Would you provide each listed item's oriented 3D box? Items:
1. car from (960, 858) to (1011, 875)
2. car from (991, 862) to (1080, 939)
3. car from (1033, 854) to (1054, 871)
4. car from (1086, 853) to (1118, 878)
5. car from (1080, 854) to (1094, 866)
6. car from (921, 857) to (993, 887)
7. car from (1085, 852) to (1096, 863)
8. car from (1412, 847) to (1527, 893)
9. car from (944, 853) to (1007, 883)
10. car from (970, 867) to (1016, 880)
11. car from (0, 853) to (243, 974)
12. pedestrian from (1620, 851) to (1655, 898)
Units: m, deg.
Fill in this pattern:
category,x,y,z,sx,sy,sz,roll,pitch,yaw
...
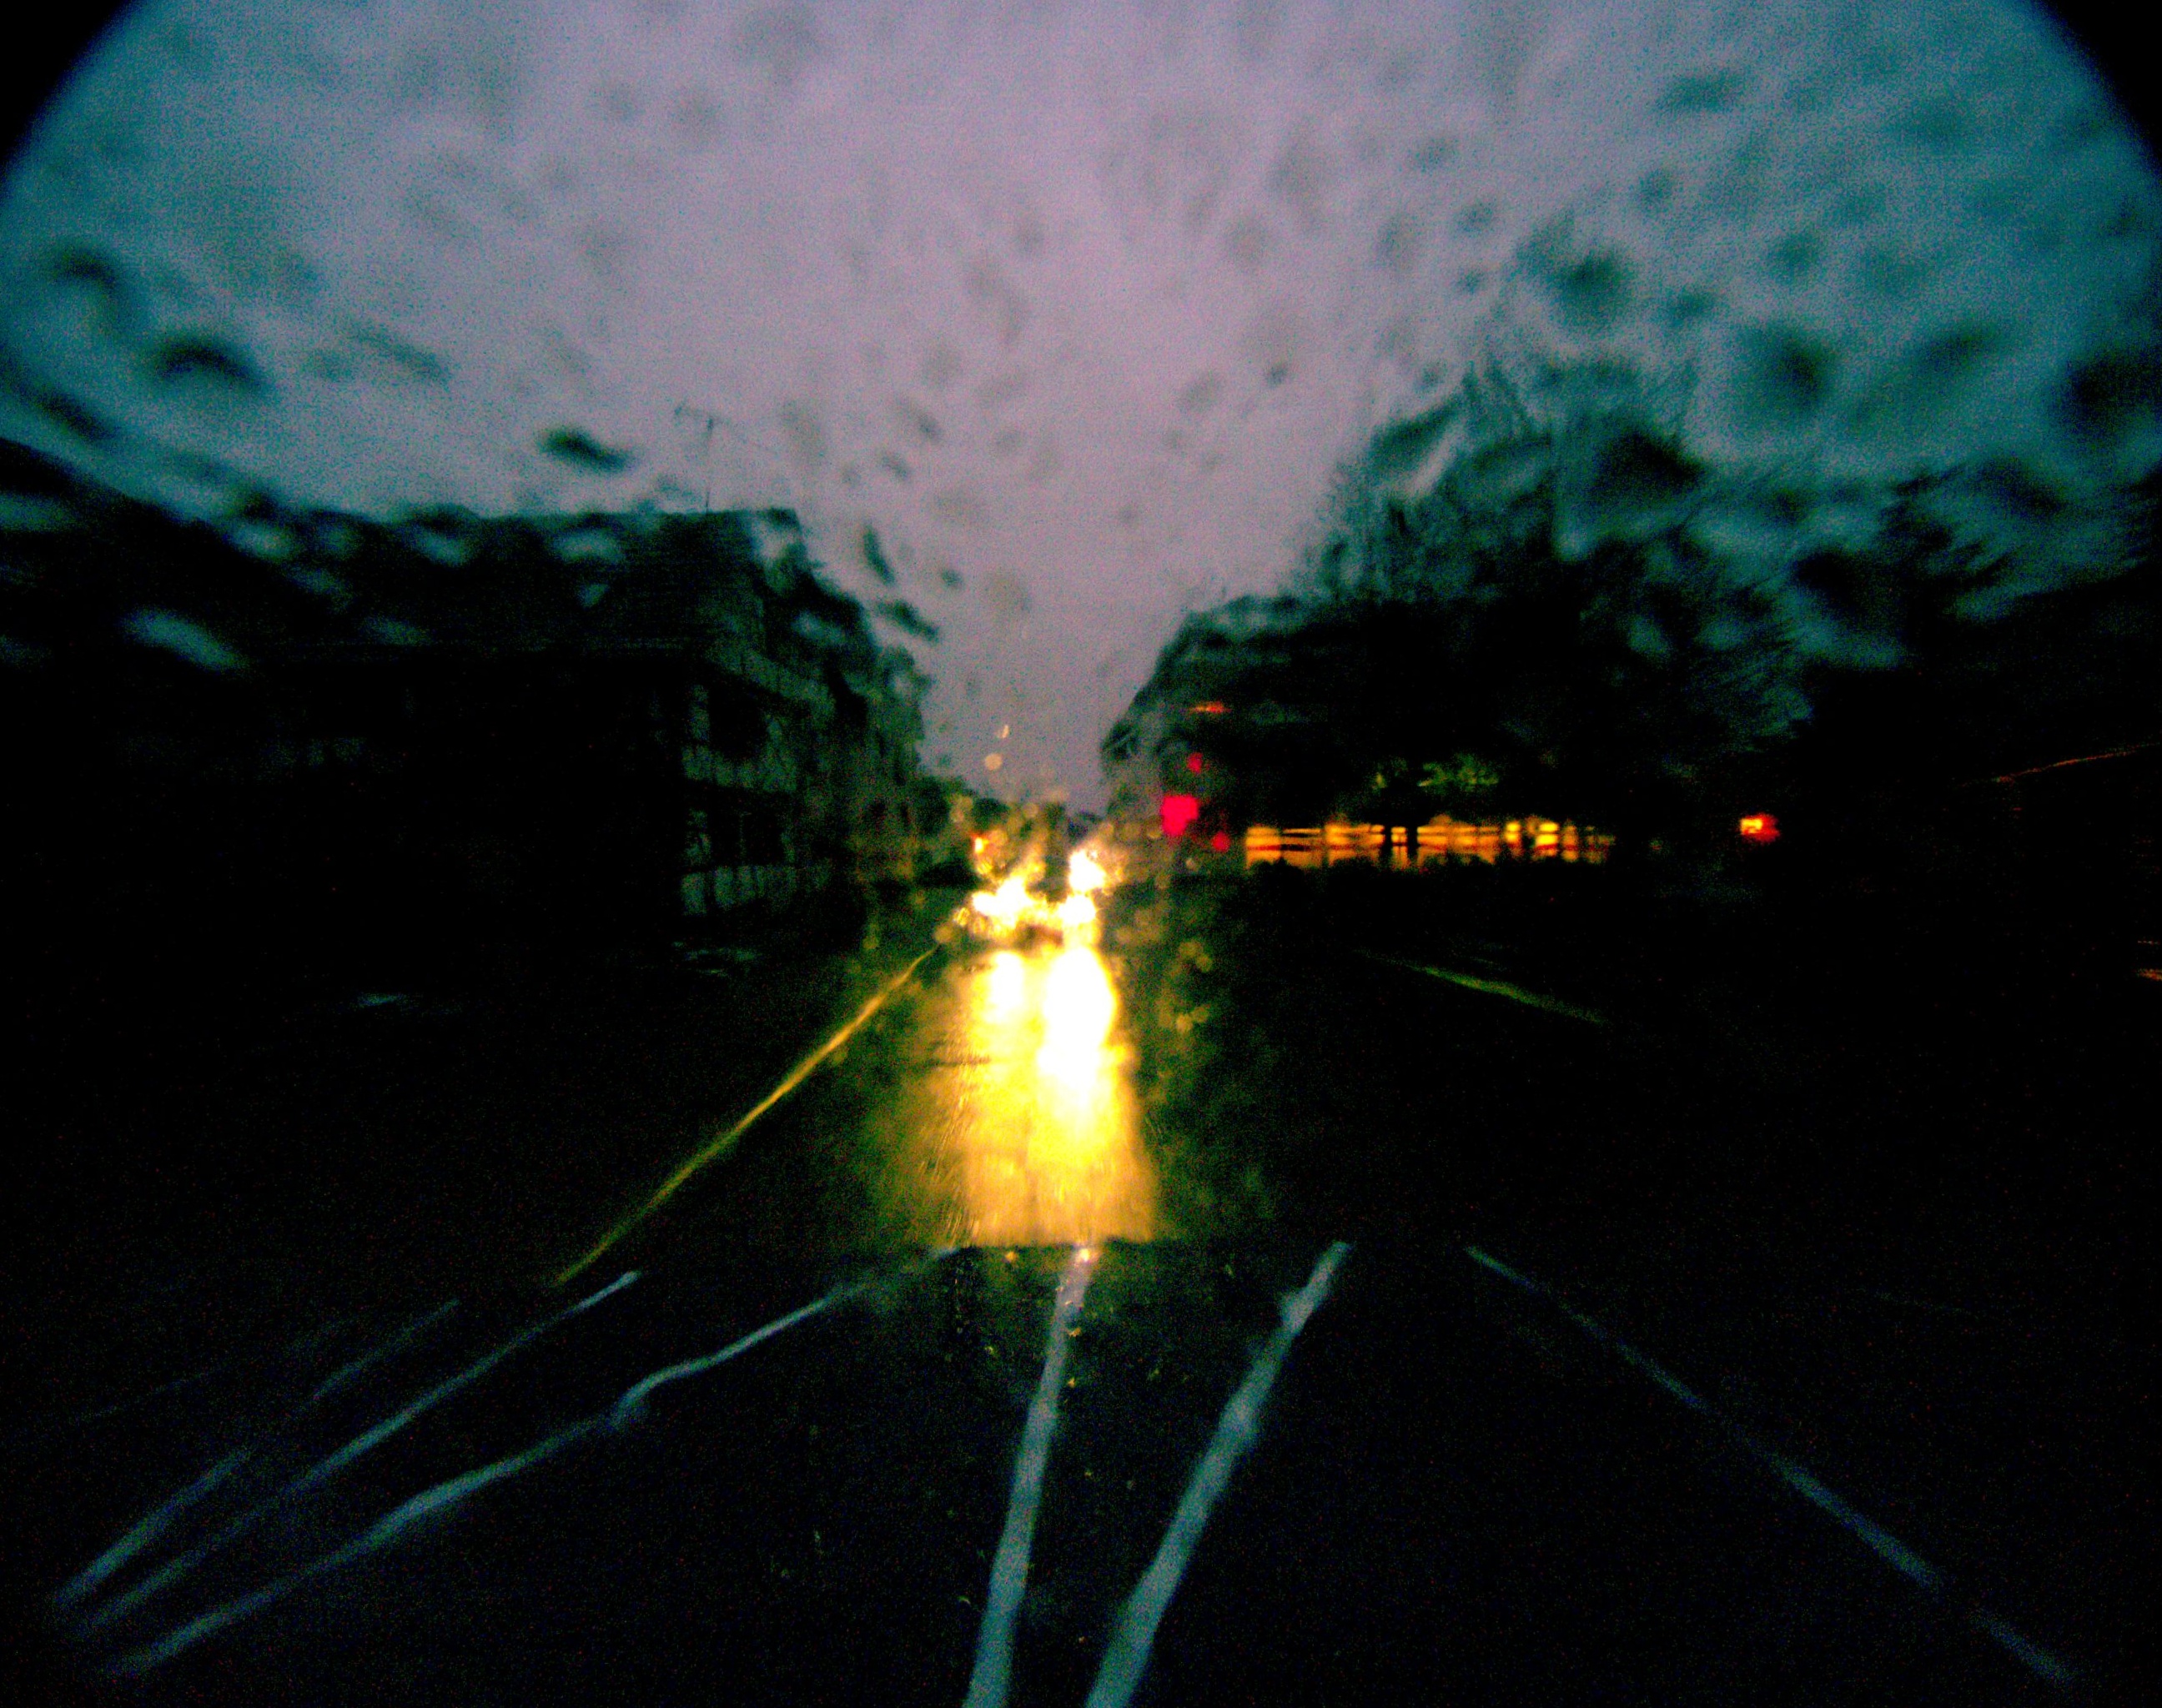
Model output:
category,x,y,z,sx,sy,sz,roll,pitch,yaw
car,-7.495,0.969,60.076,3.889,1.359,1.550,0,0,-4
car,-0.922,0.956,17.160,1.731,1.475,3.604,-2,0,0
car,-3.895,0.861,78.652,1.924,1.608,3.866,-2,0,-5
car,1.437,0.784,53.668,1.900,1.607,3.826,-2,0,-3
car,0.915,0.958,118.111,1.836,1.703,3.701,-2,0,5
car,-6.900,1.005,42.372,3.854,1.618,1.610,1,0,-8
car,1.863,0.591,141.071,1.837,2.002,3.701,-2,0,3
car,13.721,0.564,26.978,3.306,1.498,1.503,-2,0,9
car,-6.651,0.878,47.882,3.891,1.866,1.868,0,0,-9
car,-7.648,1.671,66.302,3.889,1.120,1.550,0,0,-4
car,-15.323,0.835,11.530,3.424,1.535,1.617,1,4,2
pedestrian,16.260,0.592,22.212,0.620,1.331,0.568,-1,0,9
